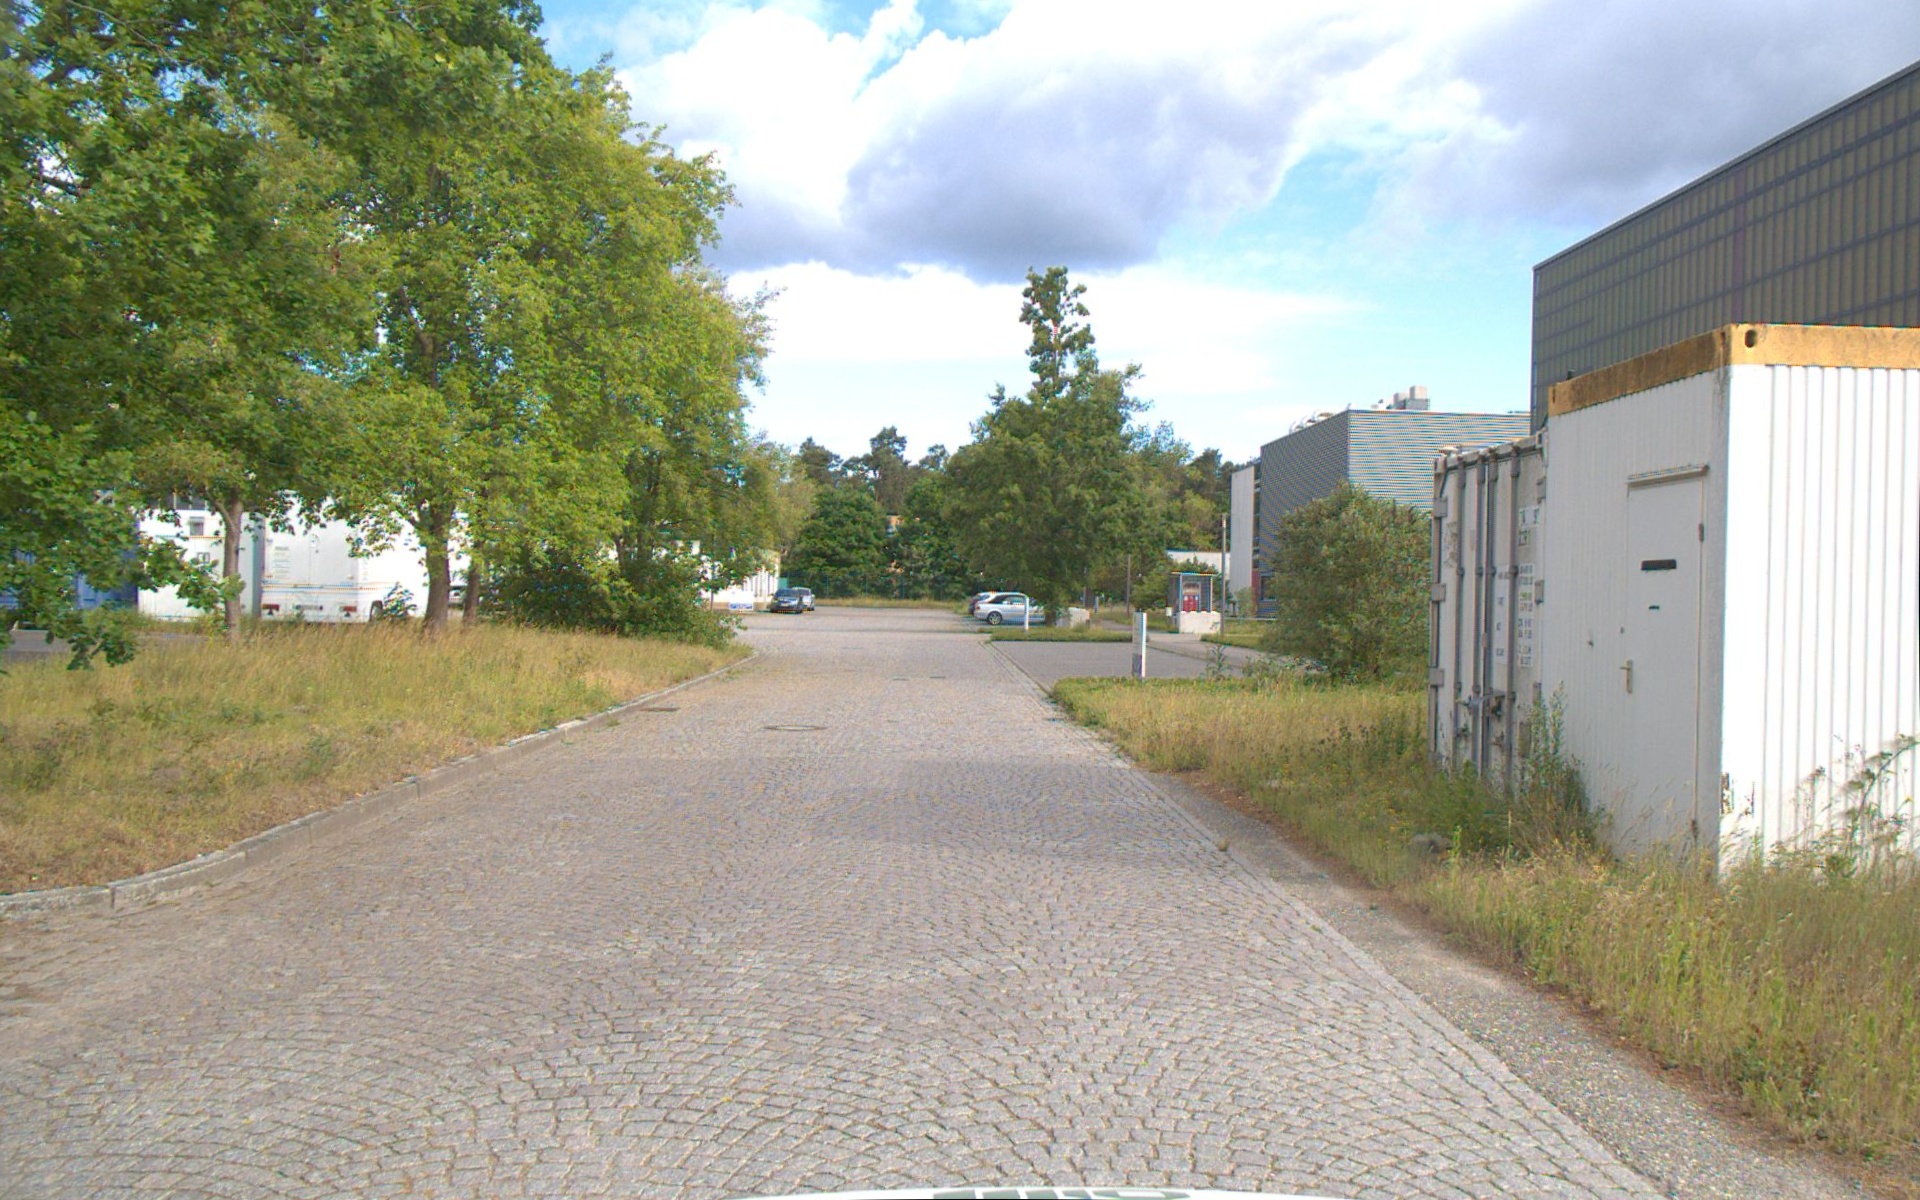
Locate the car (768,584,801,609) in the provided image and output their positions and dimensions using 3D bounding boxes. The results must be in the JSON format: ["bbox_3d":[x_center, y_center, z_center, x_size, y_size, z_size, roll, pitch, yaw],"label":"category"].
[{"bbox_3d":[-10.429,-0.220,98.362,1.614,1.393,3.997,1,0,-1],"label":"car"}]

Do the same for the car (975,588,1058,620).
[{"bbox_3d":[2.720,0.171,79.871,3.904,1.473,1.653,-1,0,-1],"label":"car"}]

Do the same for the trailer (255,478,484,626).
[{"bbox_3d":[-16.257,-1.246,46.516,2.571,3.660,10.178,1,0,1],"label":"trailer"}]

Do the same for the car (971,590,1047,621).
[{"bbox_3d":[2.254,0.250,77.164,3.451,1.386,1.622,-1,0,-1],"label":"car"}]

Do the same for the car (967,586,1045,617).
[{"bbox_3d":[2.359,0.083,84.994,3.904,1.501,1.653,-1,0,-1],"label":"car"}]

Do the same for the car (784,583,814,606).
[{"bbox_3d":[-10.577,-0.386,108.702,1.614,1.483,3.997,1,0,-1],"label":"car"}]
